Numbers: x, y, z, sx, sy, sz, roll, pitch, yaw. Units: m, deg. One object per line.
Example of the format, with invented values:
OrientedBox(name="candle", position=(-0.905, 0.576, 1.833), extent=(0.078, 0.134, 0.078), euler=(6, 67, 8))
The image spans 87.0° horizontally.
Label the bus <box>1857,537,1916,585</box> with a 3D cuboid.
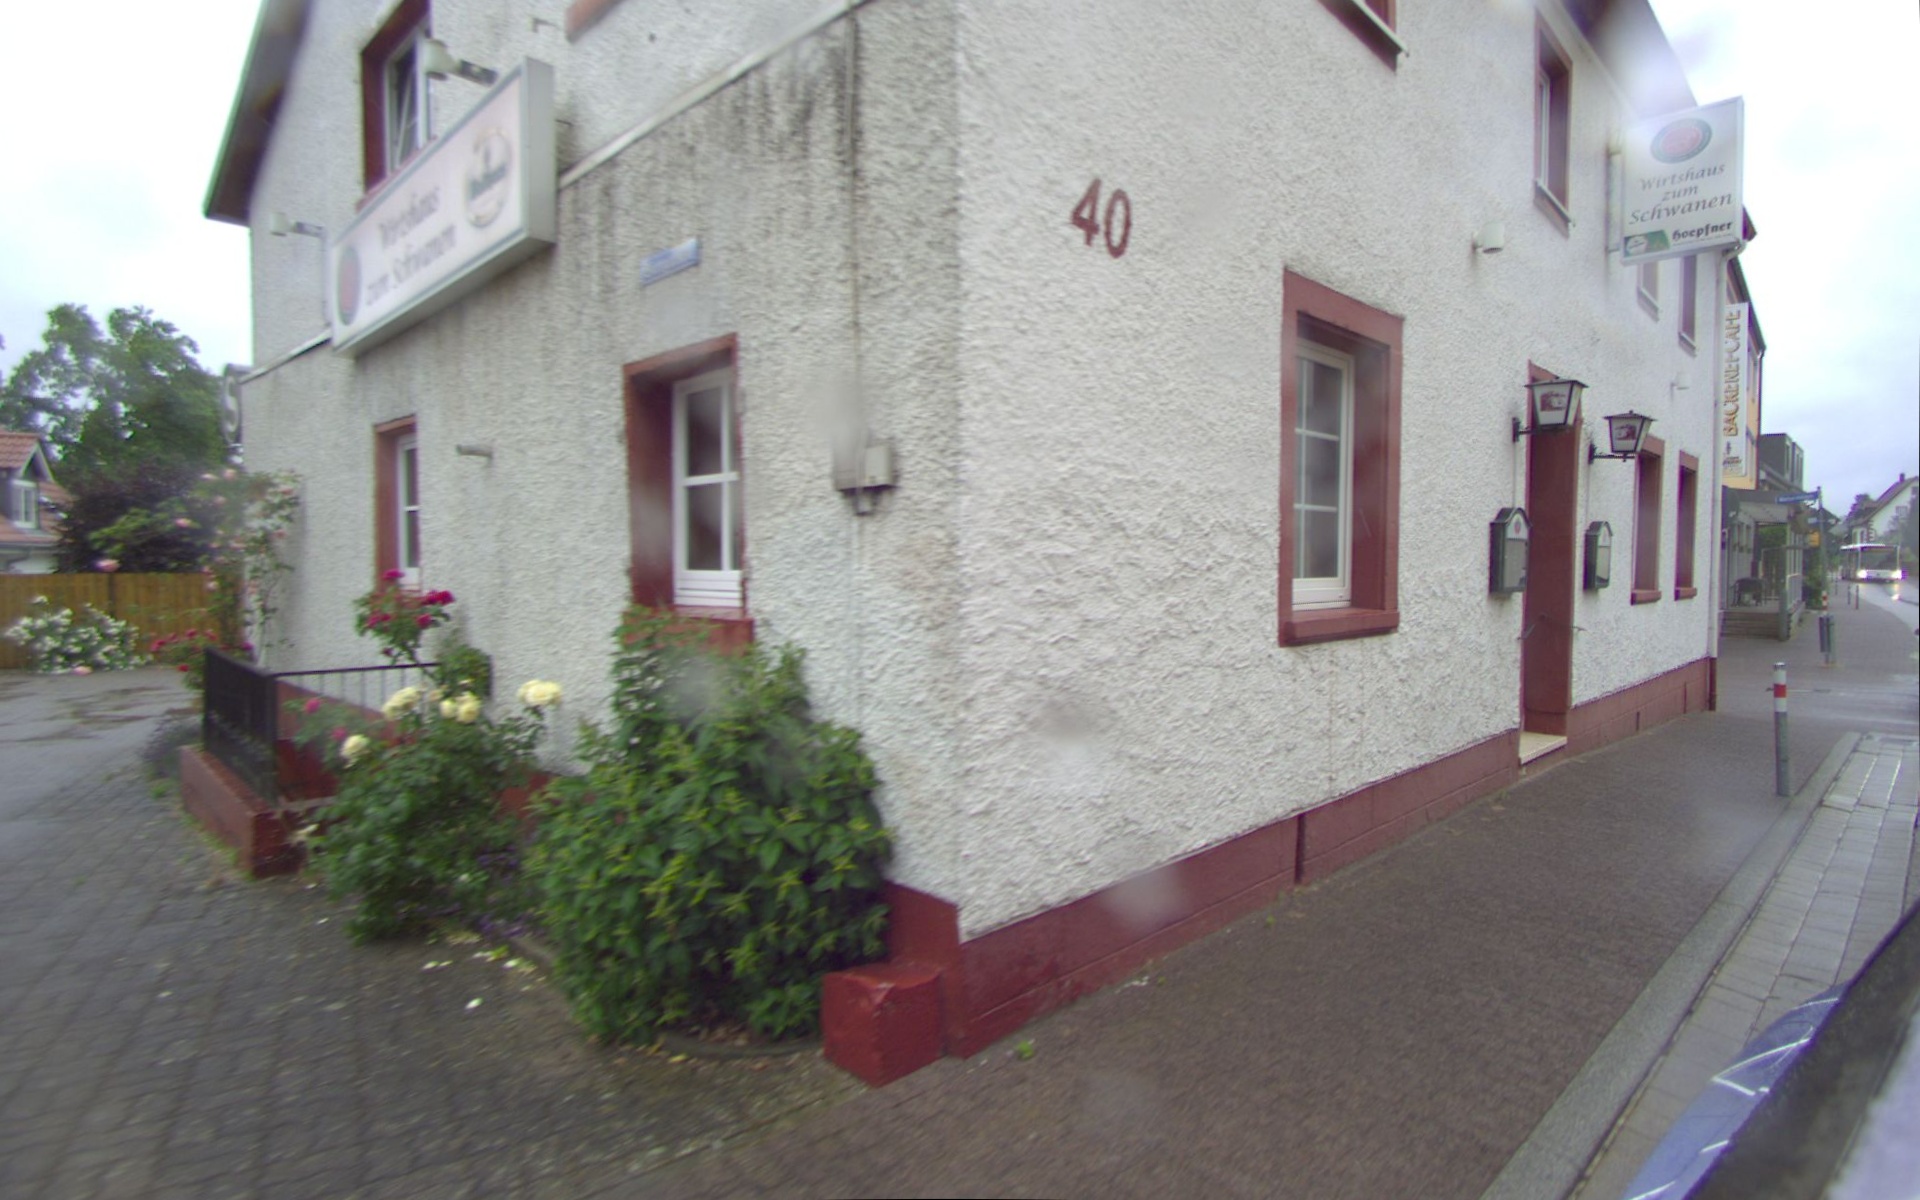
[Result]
OrientedBox(name="bus", position=(75.702, -3.256, 82.856), extent=(2.881, 3.654, 11.812), euler=(1, 3, 40))
